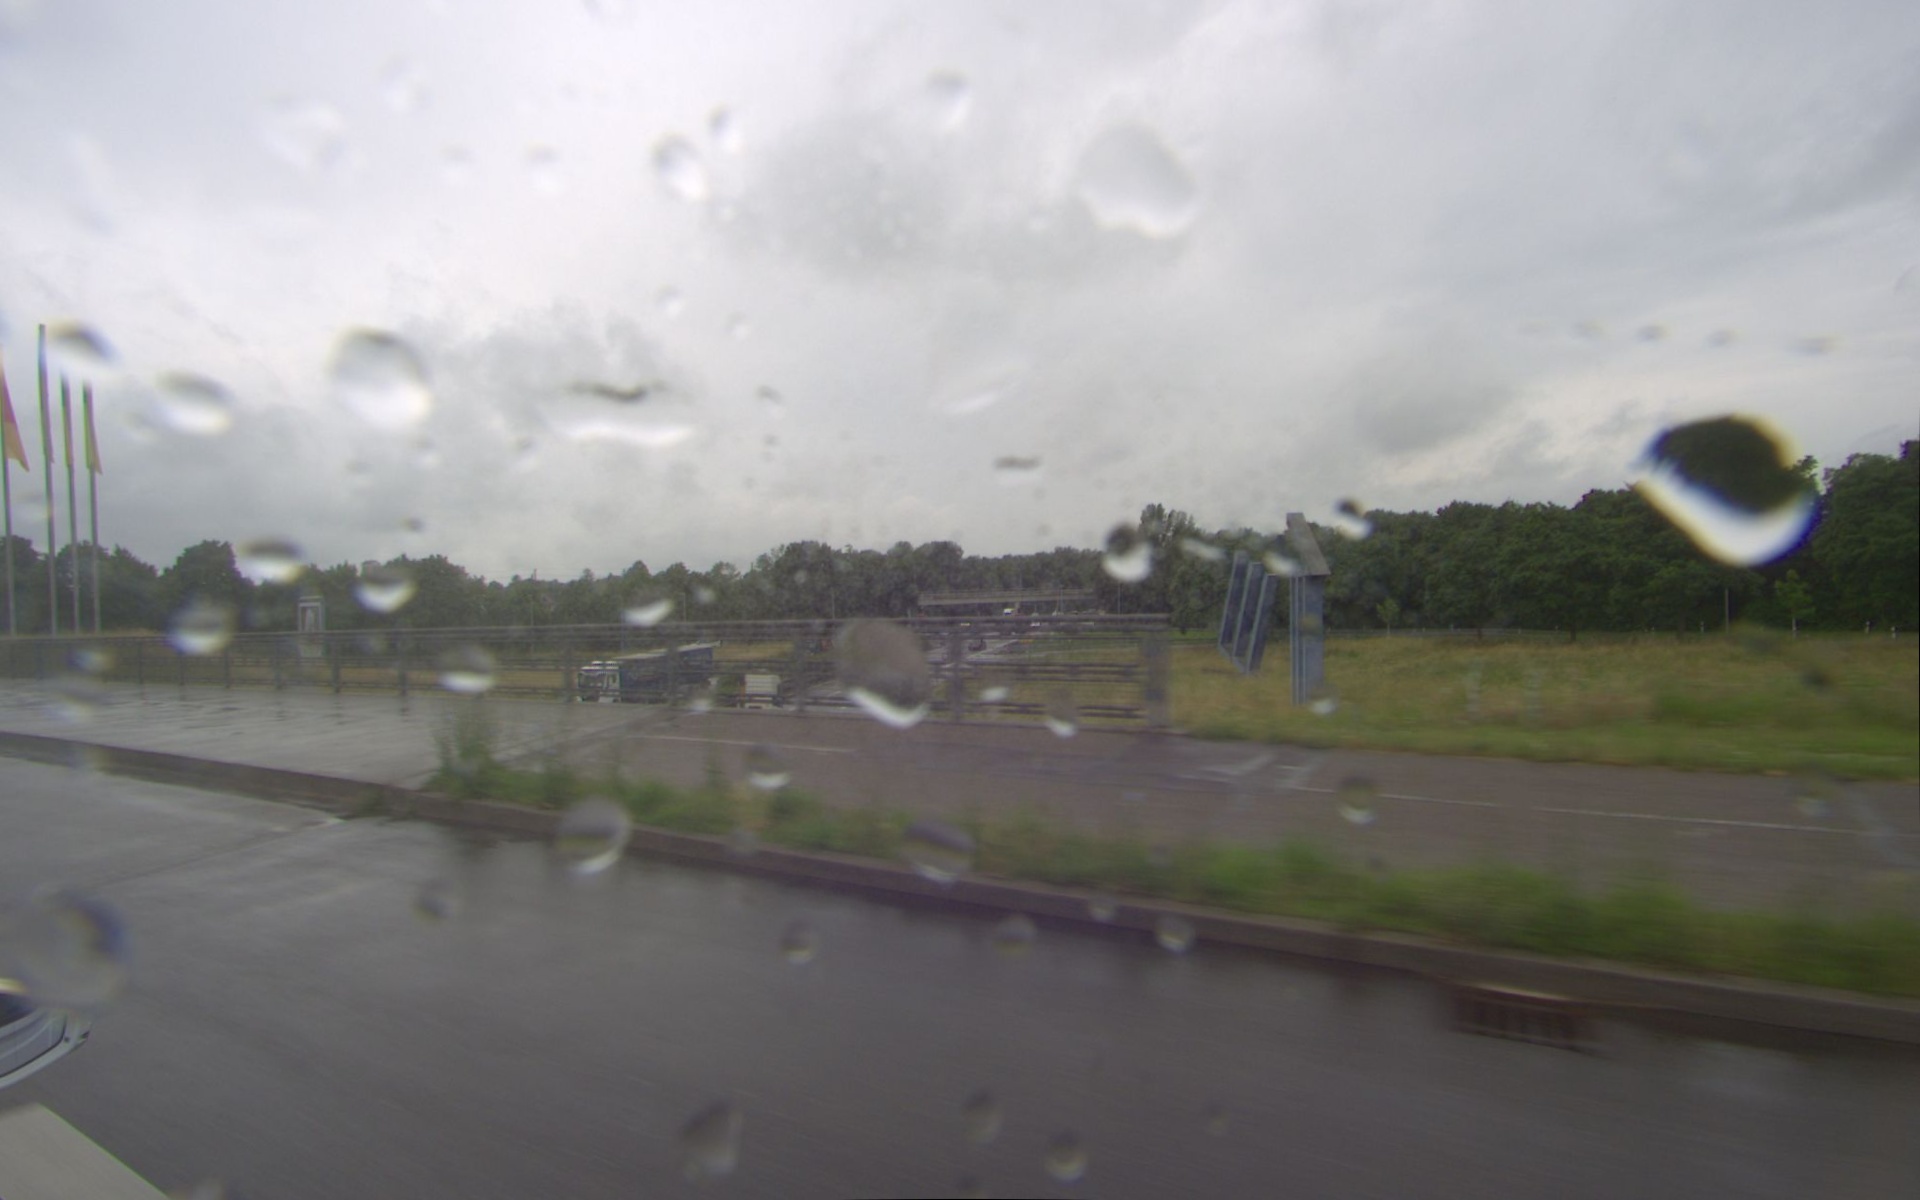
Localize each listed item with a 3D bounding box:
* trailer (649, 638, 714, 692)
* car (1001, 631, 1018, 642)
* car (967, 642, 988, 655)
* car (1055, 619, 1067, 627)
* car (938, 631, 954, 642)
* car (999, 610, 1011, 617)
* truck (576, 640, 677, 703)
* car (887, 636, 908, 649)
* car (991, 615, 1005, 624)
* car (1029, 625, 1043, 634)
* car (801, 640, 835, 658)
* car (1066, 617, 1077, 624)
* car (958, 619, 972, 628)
[{"bbox_3d":[-24.290,5.568,87.796,2.520,4.357,7.369,0,-1,11],"label":"trailer"},{"bbox_3d":[8.239,6.021,165.543,1.963,1.613,3.996,-1,-1,15],"label":"car"},{"bbox_3d":[2.433,6.803,140.199,1.963,1.613,3.996,-1,-1,15],"label":"car"},{"bbox_3d":[22.218,5.029,219.240,1.963,1.613,3.996,-1,-1,15],"label":"car"},{"bbox_3d":[-2.389,6.308,172.379,1.732,1.809,3.994,-1,-1,18],"label":"car"},{"bbox_3d":[10.818,3.260,240.383,1.964,1.809,3.994,-1,-1,18],"label":"car"},{"bbox_3d":[-25.972,5.431,78.789,2.520,4.357,10.939,0,-1,11],"label":"truck"},{"bbox_3d":[-9.895,6.760,159.268,1.964,1.977,3.994,-1,-1,18],"label":"car"},{"bbox_3d":[8.265,4.191,216.157,1.964,1.809,3.994,-1,-1,18],"label":"car"},{"bbox_3d":[14.480,5.580,190.484,1.963,1.613,3.996,-1,-1,15],"label":"car"},{"bbox_3d":[-17.200,5.970,121.481,2.255,1.990,5.616,-1,-1,12],"label":"car"},{"bbox_3d":[25.885,4.680,233.052,1.963,1.613,3.996,-1,-1,15],"label":"car"},{"bbox_3d":[1.013,4.786,202.140,1.963,1.720,4.740,-2,0,13],"label":"car"}]
